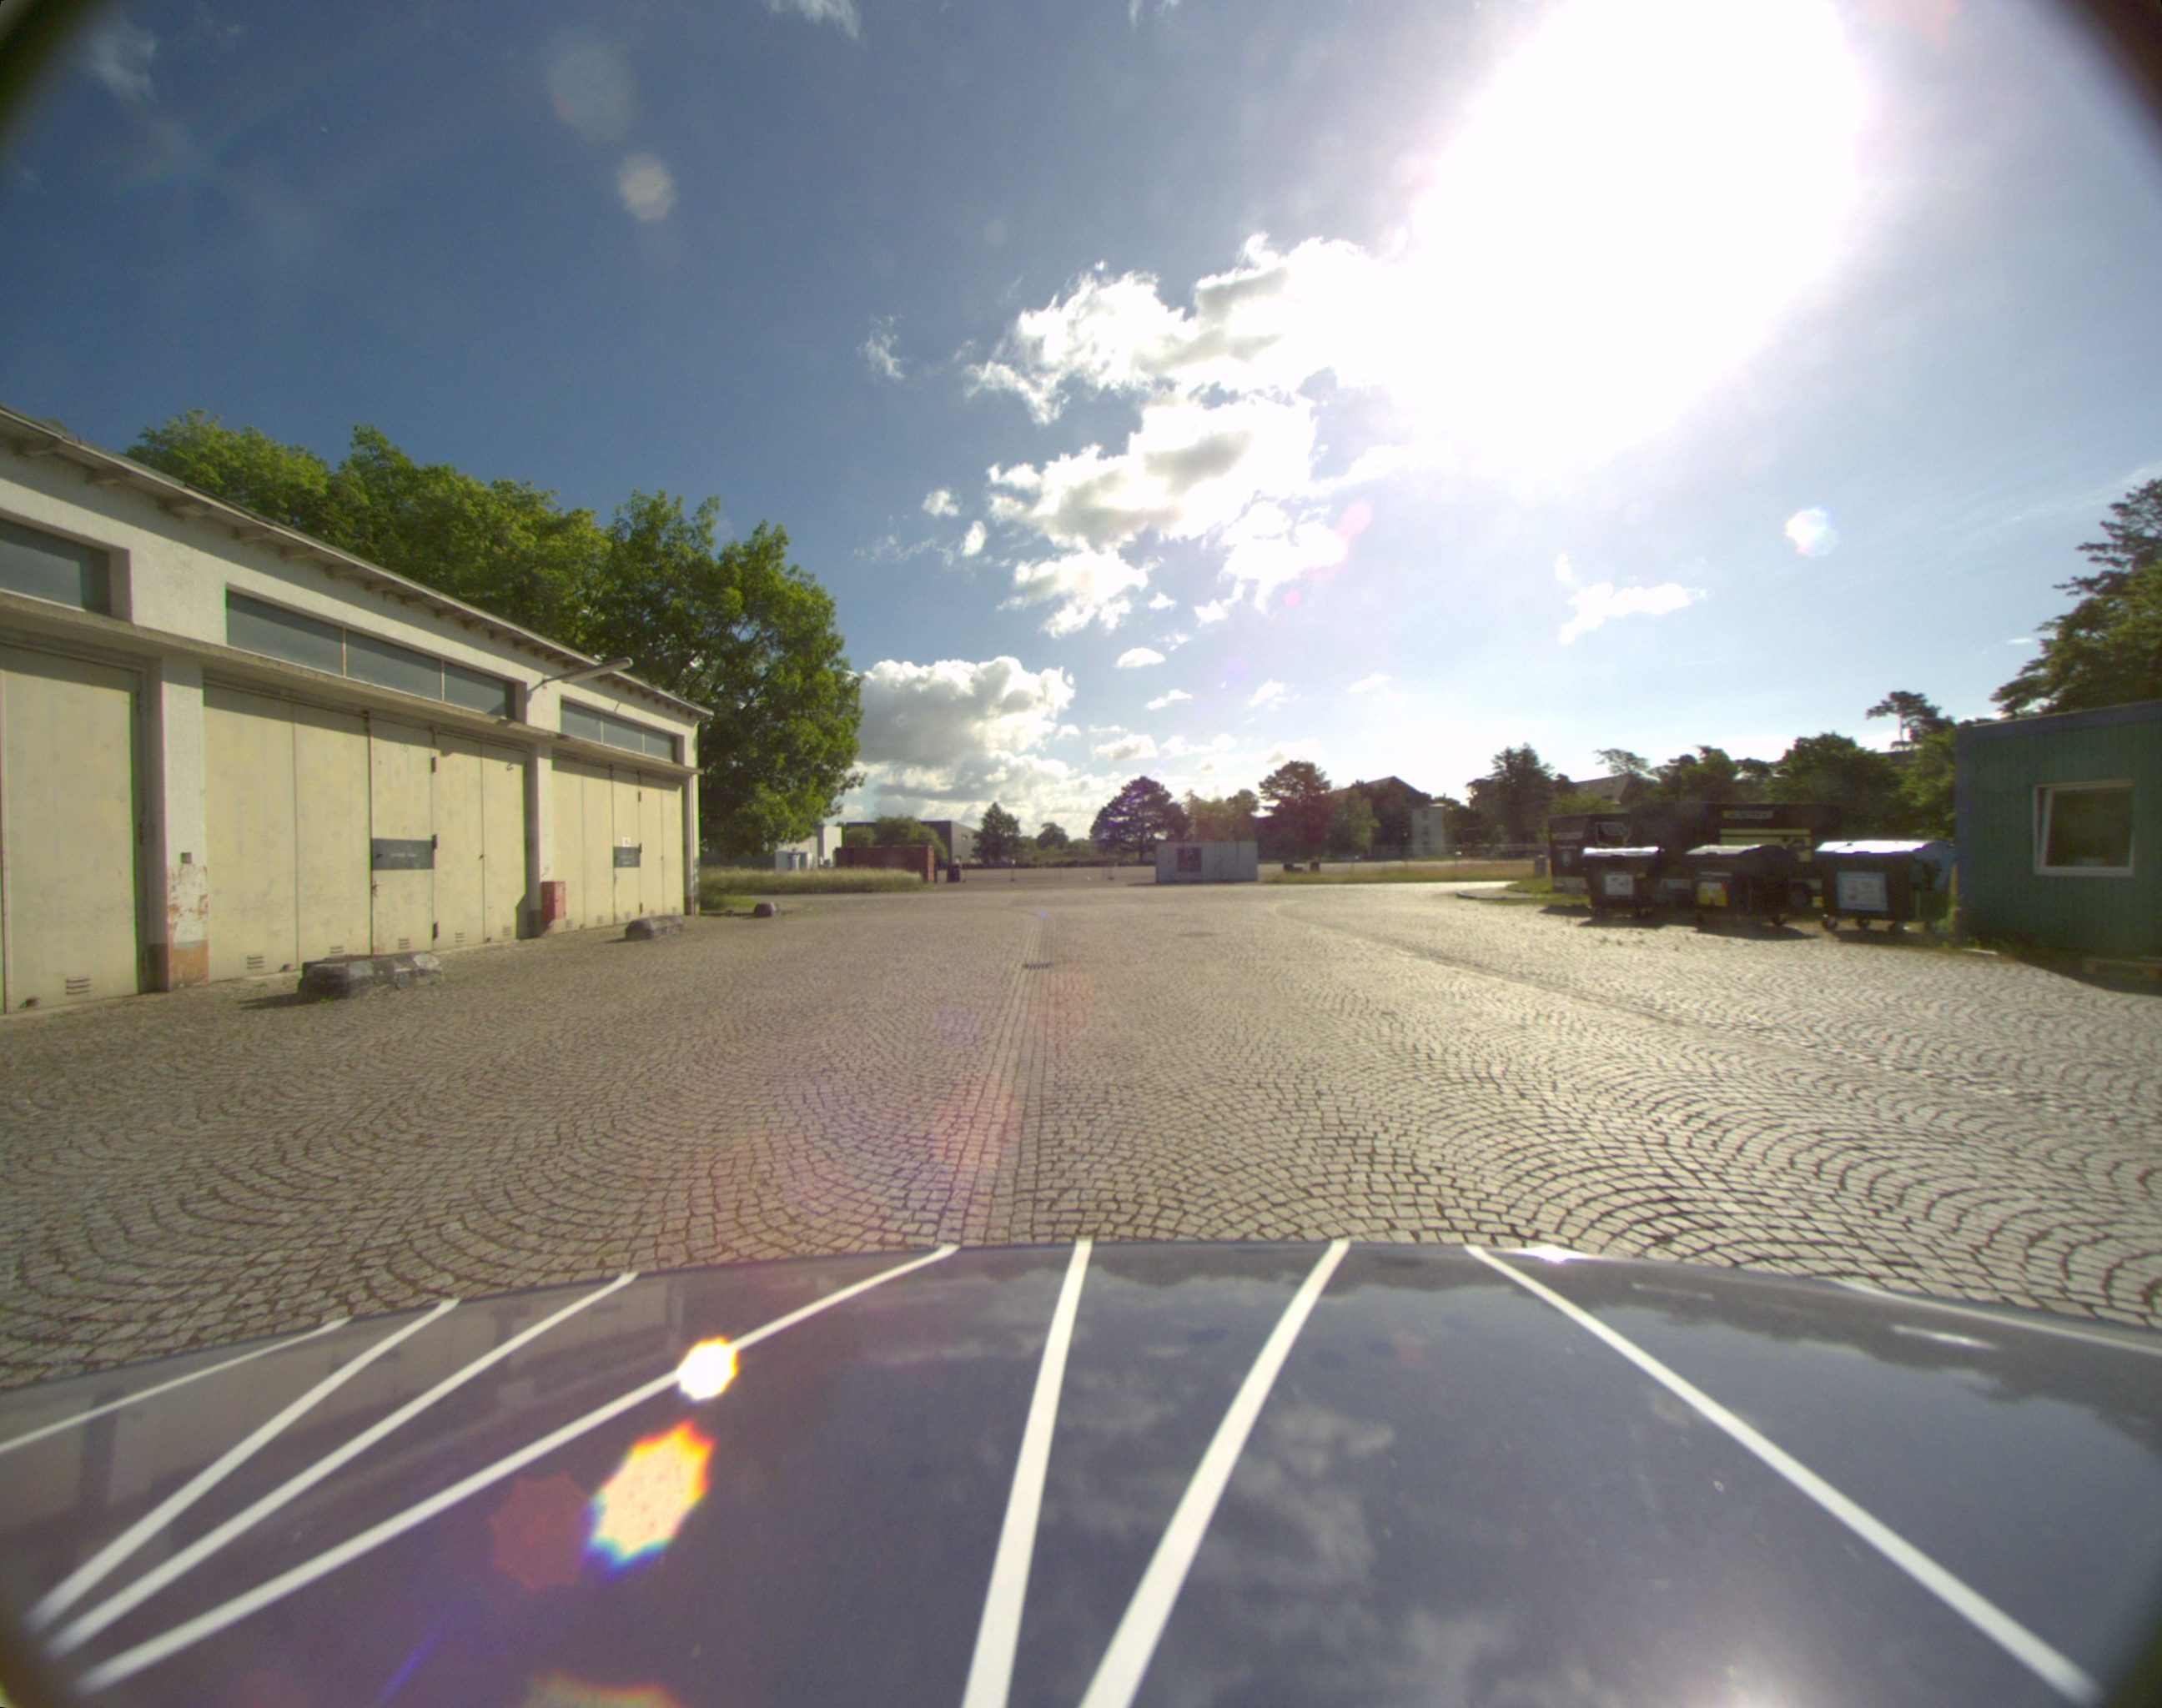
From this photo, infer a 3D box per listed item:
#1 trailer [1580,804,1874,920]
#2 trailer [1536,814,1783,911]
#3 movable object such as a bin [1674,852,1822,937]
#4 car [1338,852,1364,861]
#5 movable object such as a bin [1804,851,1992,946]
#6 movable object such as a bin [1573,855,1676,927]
[{"bbox_3d":[14.189,0.149,16.866,4.974,2.341,2.095,-1,0,-5],"label":"trailer"},{"bbox_3d":[14.577,0.199,19.365,4.667,2.284,2.137,-1,0,-1],"label":"trailer"},{"bbox_3d":[11.864,0.679,13.595,1.299,1.414,1.536,-1,0,0],"label":"movable object such as a bin"},{"bbox_3d":[49.451,0.436,139.150,3.999,1.573,1.999,-1,0,-6],"label":"car"},{"bbox_3d":[12.804,0.653,11.977,1.387,1.378,1.534,-1,0,-14],"label":"movable object such as a bin"},{"bbox_3d":[11.250,0.722,15.720,1.531,1.378,1.389,-1,0,44],"label":"movable object such as a bin"}]
